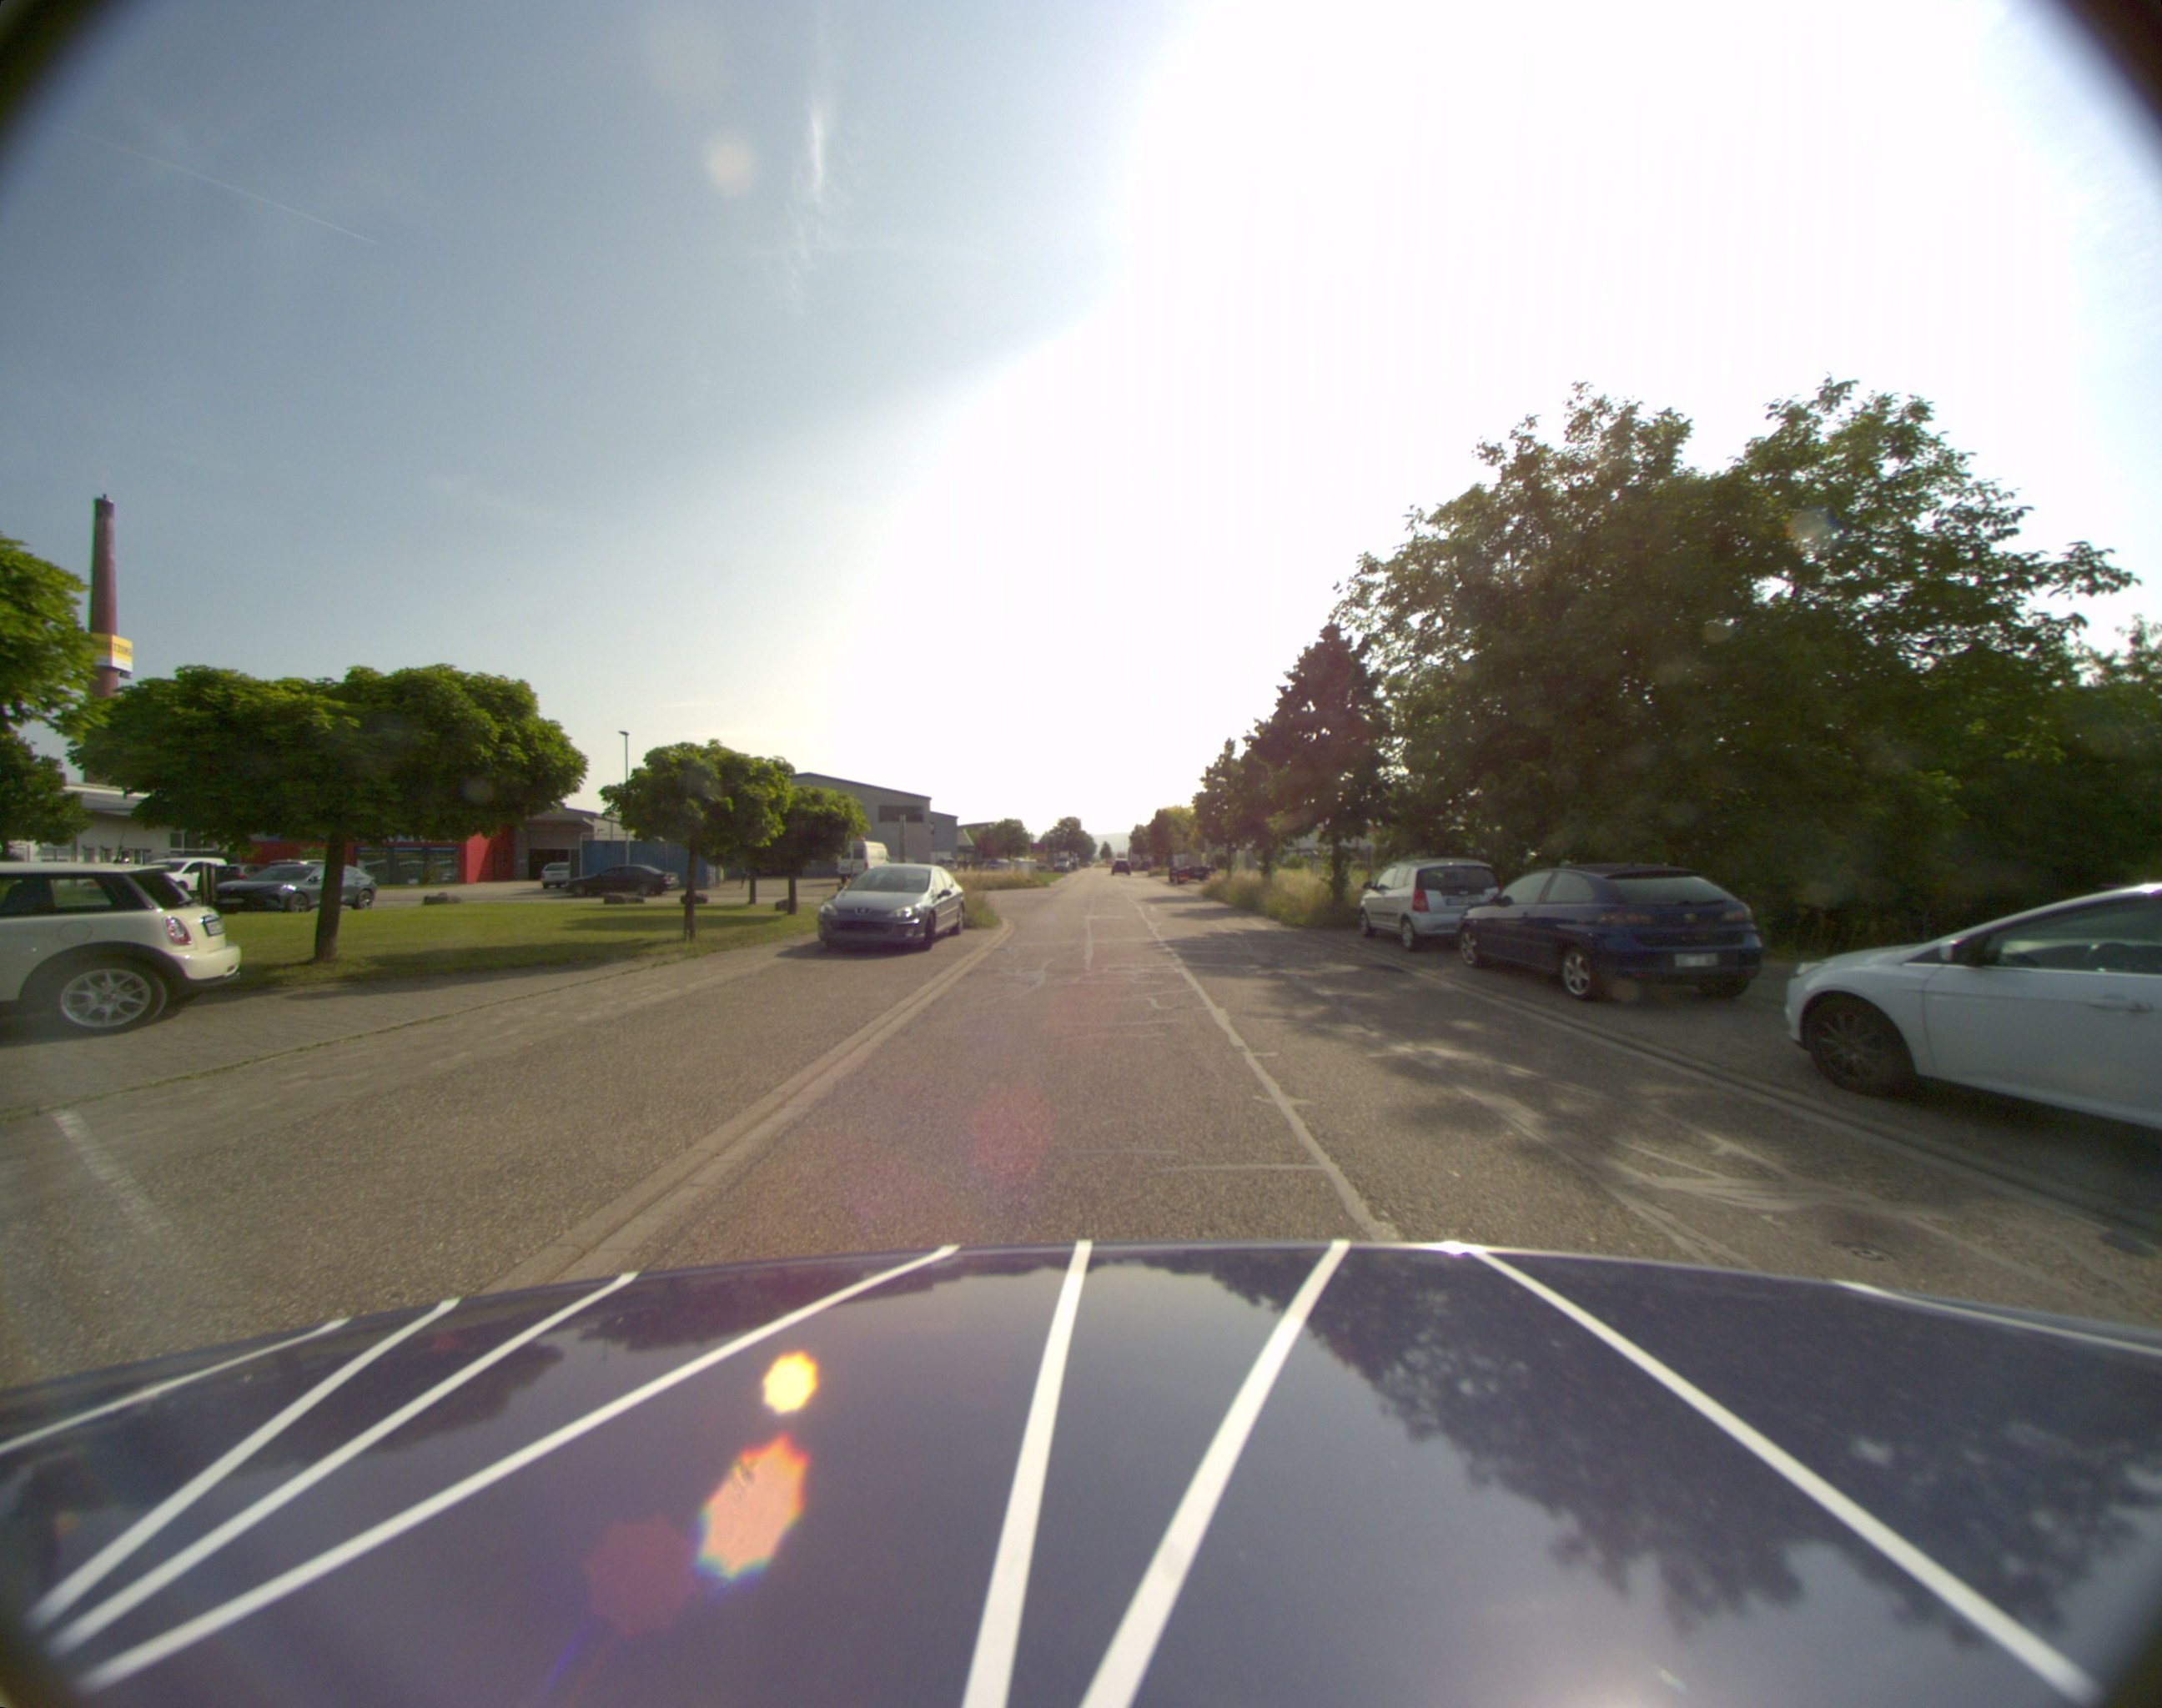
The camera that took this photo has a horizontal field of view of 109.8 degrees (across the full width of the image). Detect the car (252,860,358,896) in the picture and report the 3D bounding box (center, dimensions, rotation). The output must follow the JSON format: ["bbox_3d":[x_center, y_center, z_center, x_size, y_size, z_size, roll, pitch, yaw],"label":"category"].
[{"bbox_3d":[-37.905,1.114,37.288,1.788,1.623,4.459,0,0,-18],"label":"car"}]

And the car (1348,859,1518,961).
[{"bbox_3d":[6.140,0.896,13.709,1.570,1.529,3.689,-2,0,4],"label":"car"}]

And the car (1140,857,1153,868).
[{"bbox_3d":[8.891,1.116,103.209,1.691,1.461,4.094,0,0,3],"label":"car"}]

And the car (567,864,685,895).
[{"bbox_3d":[-21.542,1.197,36.124,4.472,1.401,1.809,0,1,-8],"label":"car"}]

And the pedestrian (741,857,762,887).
[{"bbox_3d":[-18.083,1.002,41.676,0.703,1.630,0.750,0,0,17],"label":"pedestrian"}]

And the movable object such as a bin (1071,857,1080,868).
[{"bbox_3d":[-0.716,1.135,98.937,1.083,1.345,1.506,2,0,4],"label":"movable object such as a bin"}]

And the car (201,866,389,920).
[{"bbox_3d":[-23.405,1.087,22.910,1.787,1.401,4.343,0,0,-12],"label":"car"}]

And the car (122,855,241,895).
[{"bbox_3d":[-42.885,0.951,36.381,1.717,1.786,4.200,0,0,-18],"label":"car"}]

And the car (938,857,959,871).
[{"bbox_3d":[-14.288,1.059,81.818,1.641,1.559,3.799,0,0,-20],"label":"car"}]

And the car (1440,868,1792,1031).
[{"bbox_3d":[5.996,0.947,9.171,1.582,1.435,3.964,-2,0,3],"label":"car"}]

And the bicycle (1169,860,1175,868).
[{"bbox_3d":[12.306,1.367,103.110,0.563,0.967,2.452,0,0,1],"label":"bicycle"}]

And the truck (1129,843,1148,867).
[{"bbox_3d":[9.941,0.170,132.461,2.719,3.861,9.637,-2,0,2],"label":"truck"}]

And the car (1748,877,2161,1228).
[{"bbox_3d":[5.661,0.919,3.396,1.687,1.461,4.254,-2,0,2],"label":"car"}]

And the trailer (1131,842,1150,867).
[{"bbox_3d":[9.506,0.113,122.840,2.706,3.861,9.767,-2,0,3],"label":"trailer"}]

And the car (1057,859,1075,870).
[{"bbox_3d":[-1.795,1.270,92.120,1.677,1.360,4.396,0,0,6],"label":"car"}]

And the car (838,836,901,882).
[{"bbox_3d":[-13.125,0.290,47.561,1.978,2.689,5.882,0,0,3],"label":"car"}]

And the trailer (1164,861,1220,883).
[{"bbox_3d":[7.313,1.131,51.163,2.589,1.177,9.364,-2,0,1],"label":"trailer"}]

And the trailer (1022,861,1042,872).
[{"bbox_3d":[-5.775,1.439,90.039,1.496,1.240,2.972,-2,0,-22],"label":"trailer"}]

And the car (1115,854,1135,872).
[{"bbox_3d":[4.437,0.923,77.927,1.860,1.705,4.227,1,0,1],"label":"car"}]

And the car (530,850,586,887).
[{"bbox_3d":[-29.756,0.772,43.349,2.003,2.002,3.991,0,0,-25],"label":"car"}]

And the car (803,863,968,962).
[{"bbox_3d":[-3.375,0.935,14.045,1.798,1.508,4.424,0,0,1],"label":"car"}]

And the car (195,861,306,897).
[{"bbox_3d":[-40.077,1.148,36.820,1.788,1.623,4.200,0,0,-18],"label":"car"}]

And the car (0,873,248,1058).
[{"bbox_3d":[-9.441,0.866,5.942,3.705,1.372,1.683,0,0,-38],"label":"car"}]

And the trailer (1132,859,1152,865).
[{"bbox_3d":[9.186,1.209,114.821,2.655,0.979,6.243,0,0,1],"label":"trailer"}]
